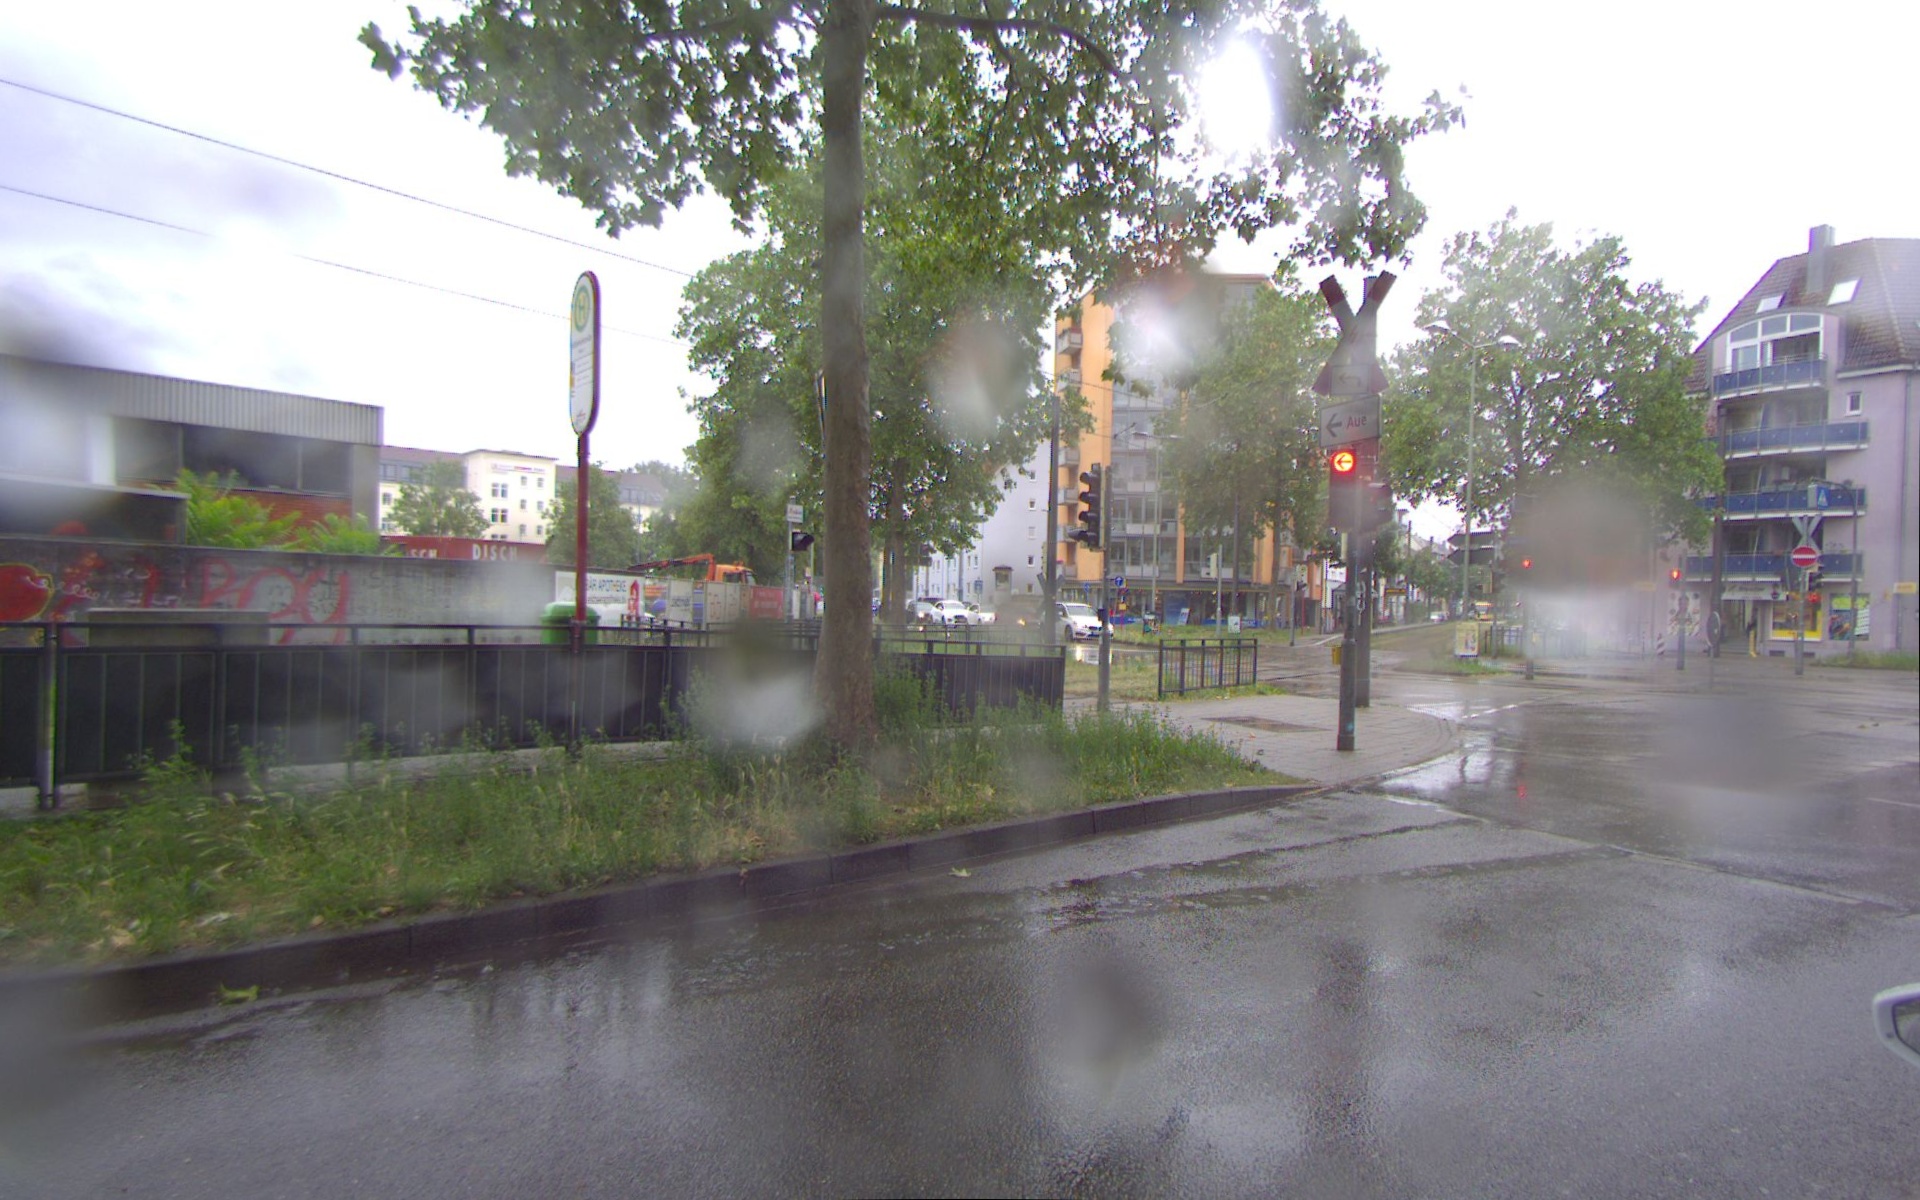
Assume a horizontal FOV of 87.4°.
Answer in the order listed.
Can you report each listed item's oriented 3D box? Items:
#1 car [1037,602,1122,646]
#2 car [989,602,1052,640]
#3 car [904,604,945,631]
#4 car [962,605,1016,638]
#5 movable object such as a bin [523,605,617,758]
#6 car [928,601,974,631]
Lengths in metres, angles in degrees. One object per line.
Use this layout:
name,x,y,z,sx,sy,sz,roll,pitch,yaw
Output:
car,4.717,0.959,40.342,1.941,1.673,4.004,1,-1,-17
car,2.758,0.972,46.444,1.697,1.661,3.780,1,-1,-17
car,-2.332,1.139,64.465,1.697,1.661,3.780,1,-1,-17
car,1.456,1.119,52.425,1.697,1.661,3.780,1,-1,-17
movable object such as a bin,-2.938,0.595,7.579,0.412,1.104,0.528,0,-1,44
car,-0.560,0.951,58.386,1.697,1.661,3.780,1,-1,-17
